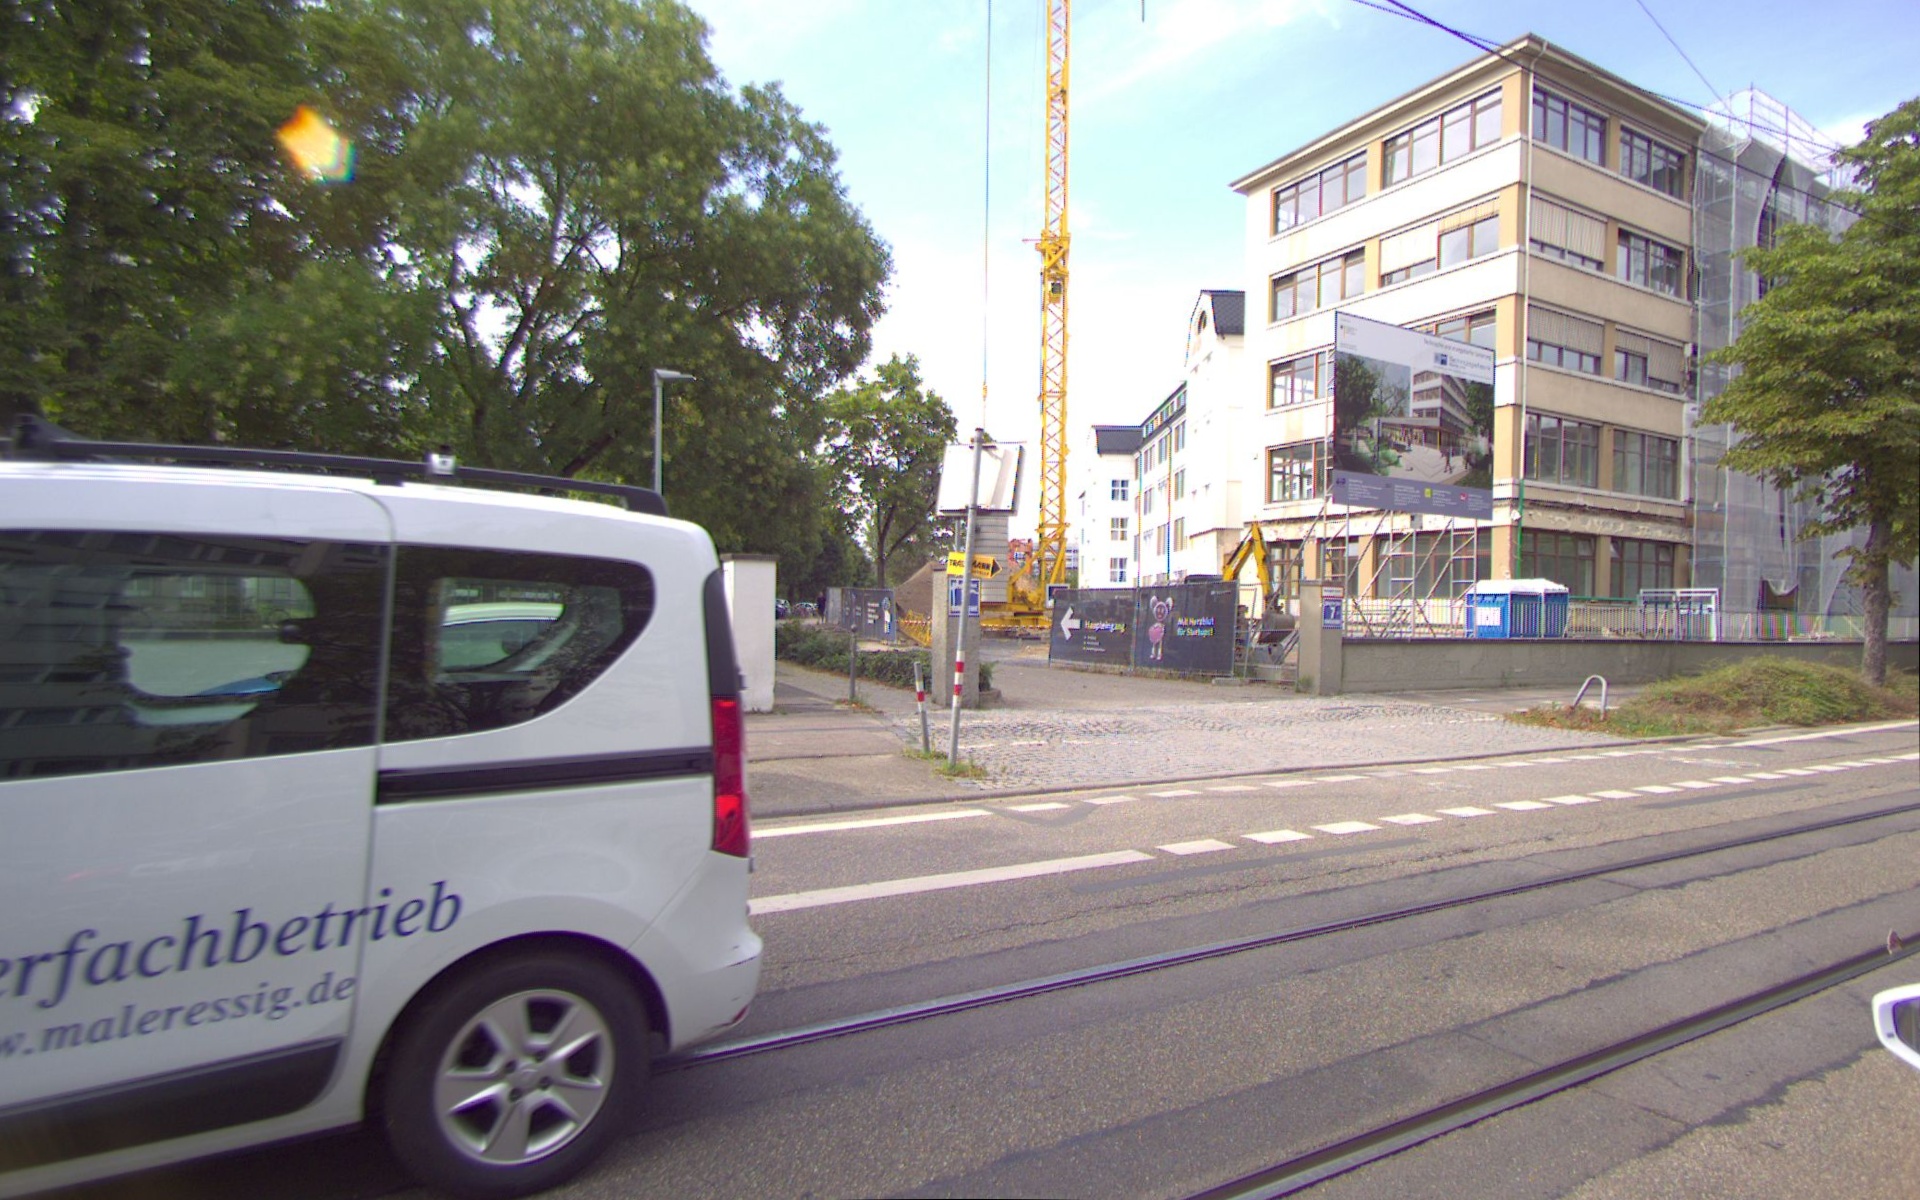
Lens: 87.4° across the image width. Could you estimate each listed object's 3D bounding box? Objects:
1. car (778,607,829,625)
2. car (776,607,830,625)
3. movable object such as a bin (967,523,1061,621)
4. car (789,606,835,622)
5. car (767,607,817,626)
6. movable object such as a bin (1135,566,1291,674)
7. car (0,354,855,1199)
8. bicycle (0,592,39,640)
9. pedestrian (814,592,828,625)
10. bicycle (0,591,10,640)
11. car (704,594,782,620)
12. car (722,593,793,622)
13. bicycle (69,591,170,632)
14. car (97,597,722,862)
[{"bbox_3d":[-14.728,1.521,94.768,4.719,1.508,1.998,2,0,-8],"label":"car"},{"bbox_3d":[-14.345,1.462,91.943,4.719,1.508,1.998,2,0,-8],"label":"car"},{"bbox_3d":[4.214,-1.872,74.994,3.781,6.758,10.988,2,0,20],"label":"movable object such as a bin"},{"bbox_3d":[-15.531,1.455,105.842,4.719,1.508,1.998,2,0,-8],"label":"car"},{"bbox_3d":[-14.819,1.455,88.622,4.268,1.564,1.751,2,0,-8],"label":"car"},{"bbox_3d":[6.214,0.484,24.945,2.459,2.475,3.048,2,0,-19],"label":"movable object such as a bin"},{"bbox_3d":[-2.601,0.467,2.510,4.325,1.909,1.724,1,0,-29],"label":"car"},{"bbox_3d":[-21.986,0.337,22.567,1.940,1.057,0.594,2,1,-4],"label":"bicycle"},{"bbox_3d":[-7.798,0.501,56.249,0.736,1.813,0.730,2,0,-7],"label":"pedestrian"},{"bbox_3d":[-21.902,0.319,21.787,1.940,1.057,0.594,2,1,-4],"label":"bicycle"},{"bbox_3d":[-13.877,0.438,64.565,4.719,1.508,1.998,2,0,-8],"label":"car"},{"bbox_3d":[-15.222,0.555,75.857,4.965,1.979,1.999,2,0,-4],"label":"car"},{"bbox_3d":[-22.413,0.312,26.832,1.953,1.057,0.590,1,1,-28],"label":"bicycle"},{"bbox_3d":[-3.713,0.757,7.267,3.560,1.484,1.620,1,0,-30],"label":"car"}]
